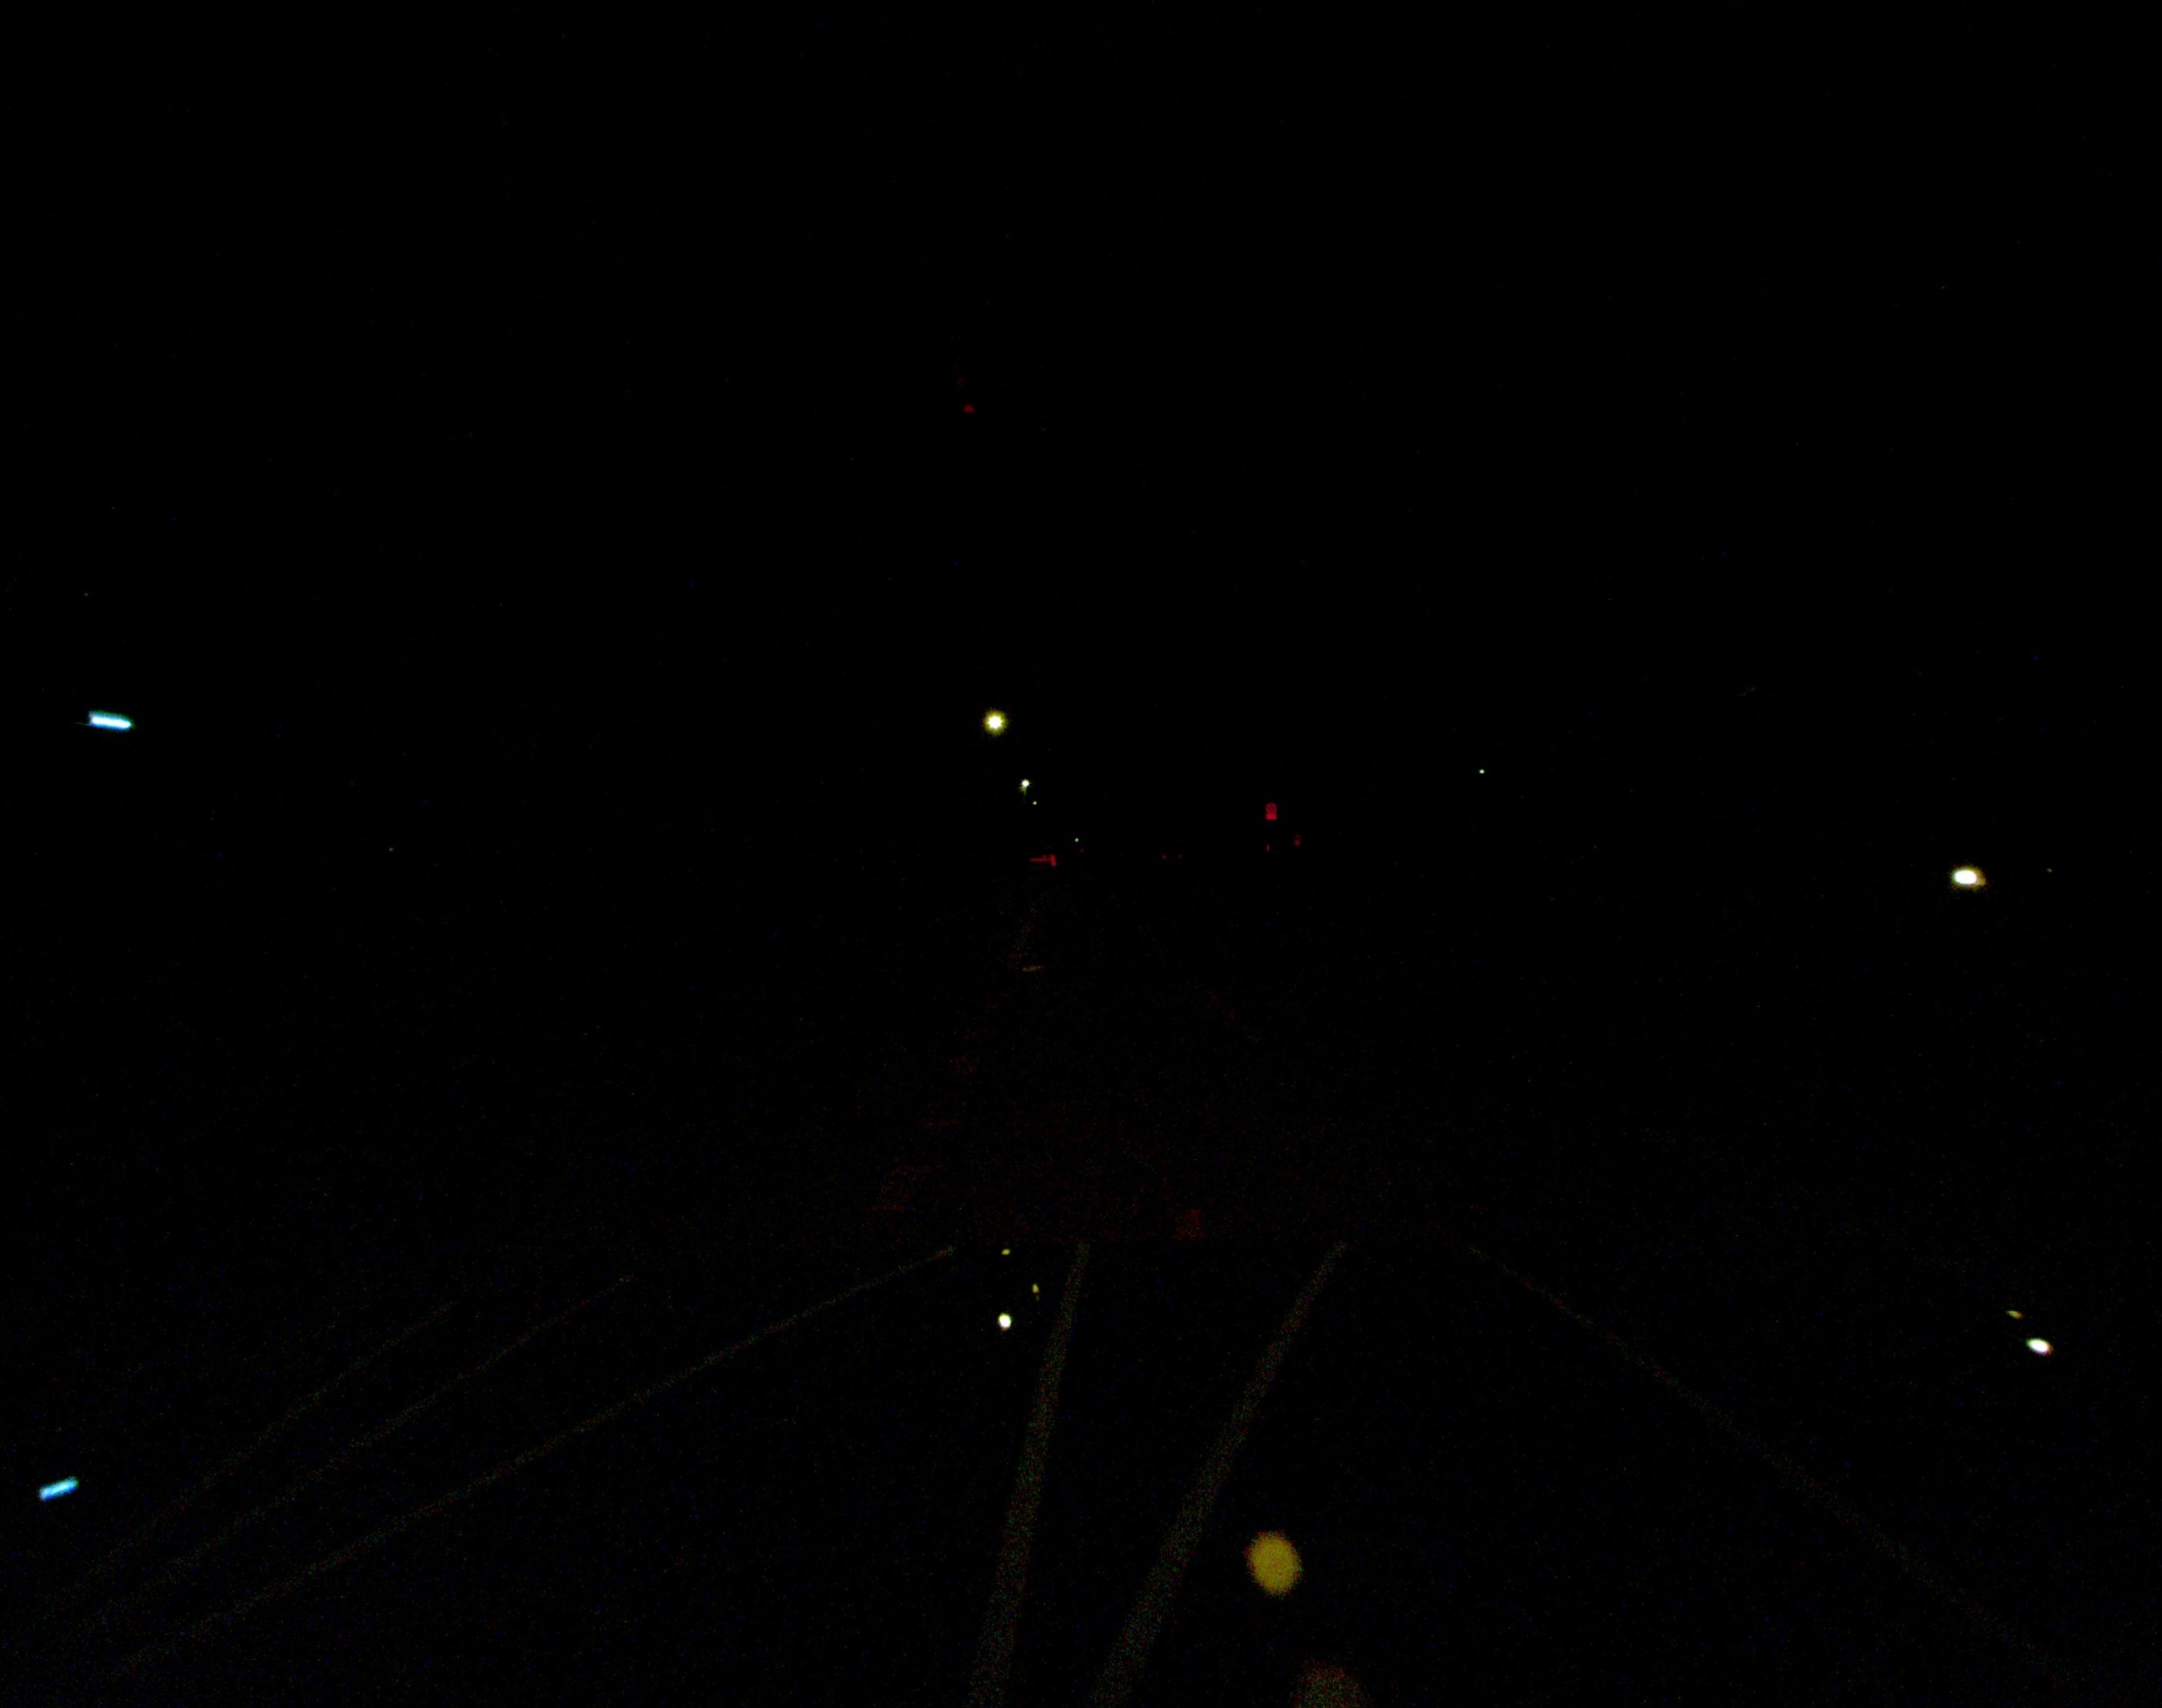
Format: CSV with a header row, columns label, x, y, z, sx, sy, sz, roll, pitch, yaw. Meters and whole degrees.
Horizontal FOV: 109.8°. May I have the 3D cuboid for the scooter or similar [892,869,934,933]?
label,x,y,z,sx,sy,sz,roll,pitch,yaw
scooter or similar,-3.577,0.977,16.299,0.570,1.271,1.391,0,0,0

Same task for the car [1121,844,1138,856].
label,x,y,z,sx,sy,sz,roll,pitch,yaw
car,6.402,-0.520,100.481,1.911,1.445,3.999,-3,2,1

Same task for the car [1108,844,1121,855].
label,x,y,z,sx,sy,sz,roll,pitch,yaw
car,5.182,-0.739,117.651,1.911,1.445,3.999,-3,2,1

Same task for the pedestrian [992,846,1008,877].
label,x,y,z,sx,sy,sz,roll,pitch,yaw
pedestrian,-4.858,0.440,45.553,0.824,1.809,0.608,-3,2,1

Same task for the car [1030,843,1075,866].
label,x,y,z,sx,sy,sz,roll,pitch,yaw
car,-2.591,0.023,70.774,3.997,1.821,1.912,-3,2,0

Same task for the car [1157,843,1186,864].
label,x,y,z,sx,sy,sz,roll,pitch,yaw
car,7.233,-0.047,61.021,1.911,1.445,3.999,-3,2,1
